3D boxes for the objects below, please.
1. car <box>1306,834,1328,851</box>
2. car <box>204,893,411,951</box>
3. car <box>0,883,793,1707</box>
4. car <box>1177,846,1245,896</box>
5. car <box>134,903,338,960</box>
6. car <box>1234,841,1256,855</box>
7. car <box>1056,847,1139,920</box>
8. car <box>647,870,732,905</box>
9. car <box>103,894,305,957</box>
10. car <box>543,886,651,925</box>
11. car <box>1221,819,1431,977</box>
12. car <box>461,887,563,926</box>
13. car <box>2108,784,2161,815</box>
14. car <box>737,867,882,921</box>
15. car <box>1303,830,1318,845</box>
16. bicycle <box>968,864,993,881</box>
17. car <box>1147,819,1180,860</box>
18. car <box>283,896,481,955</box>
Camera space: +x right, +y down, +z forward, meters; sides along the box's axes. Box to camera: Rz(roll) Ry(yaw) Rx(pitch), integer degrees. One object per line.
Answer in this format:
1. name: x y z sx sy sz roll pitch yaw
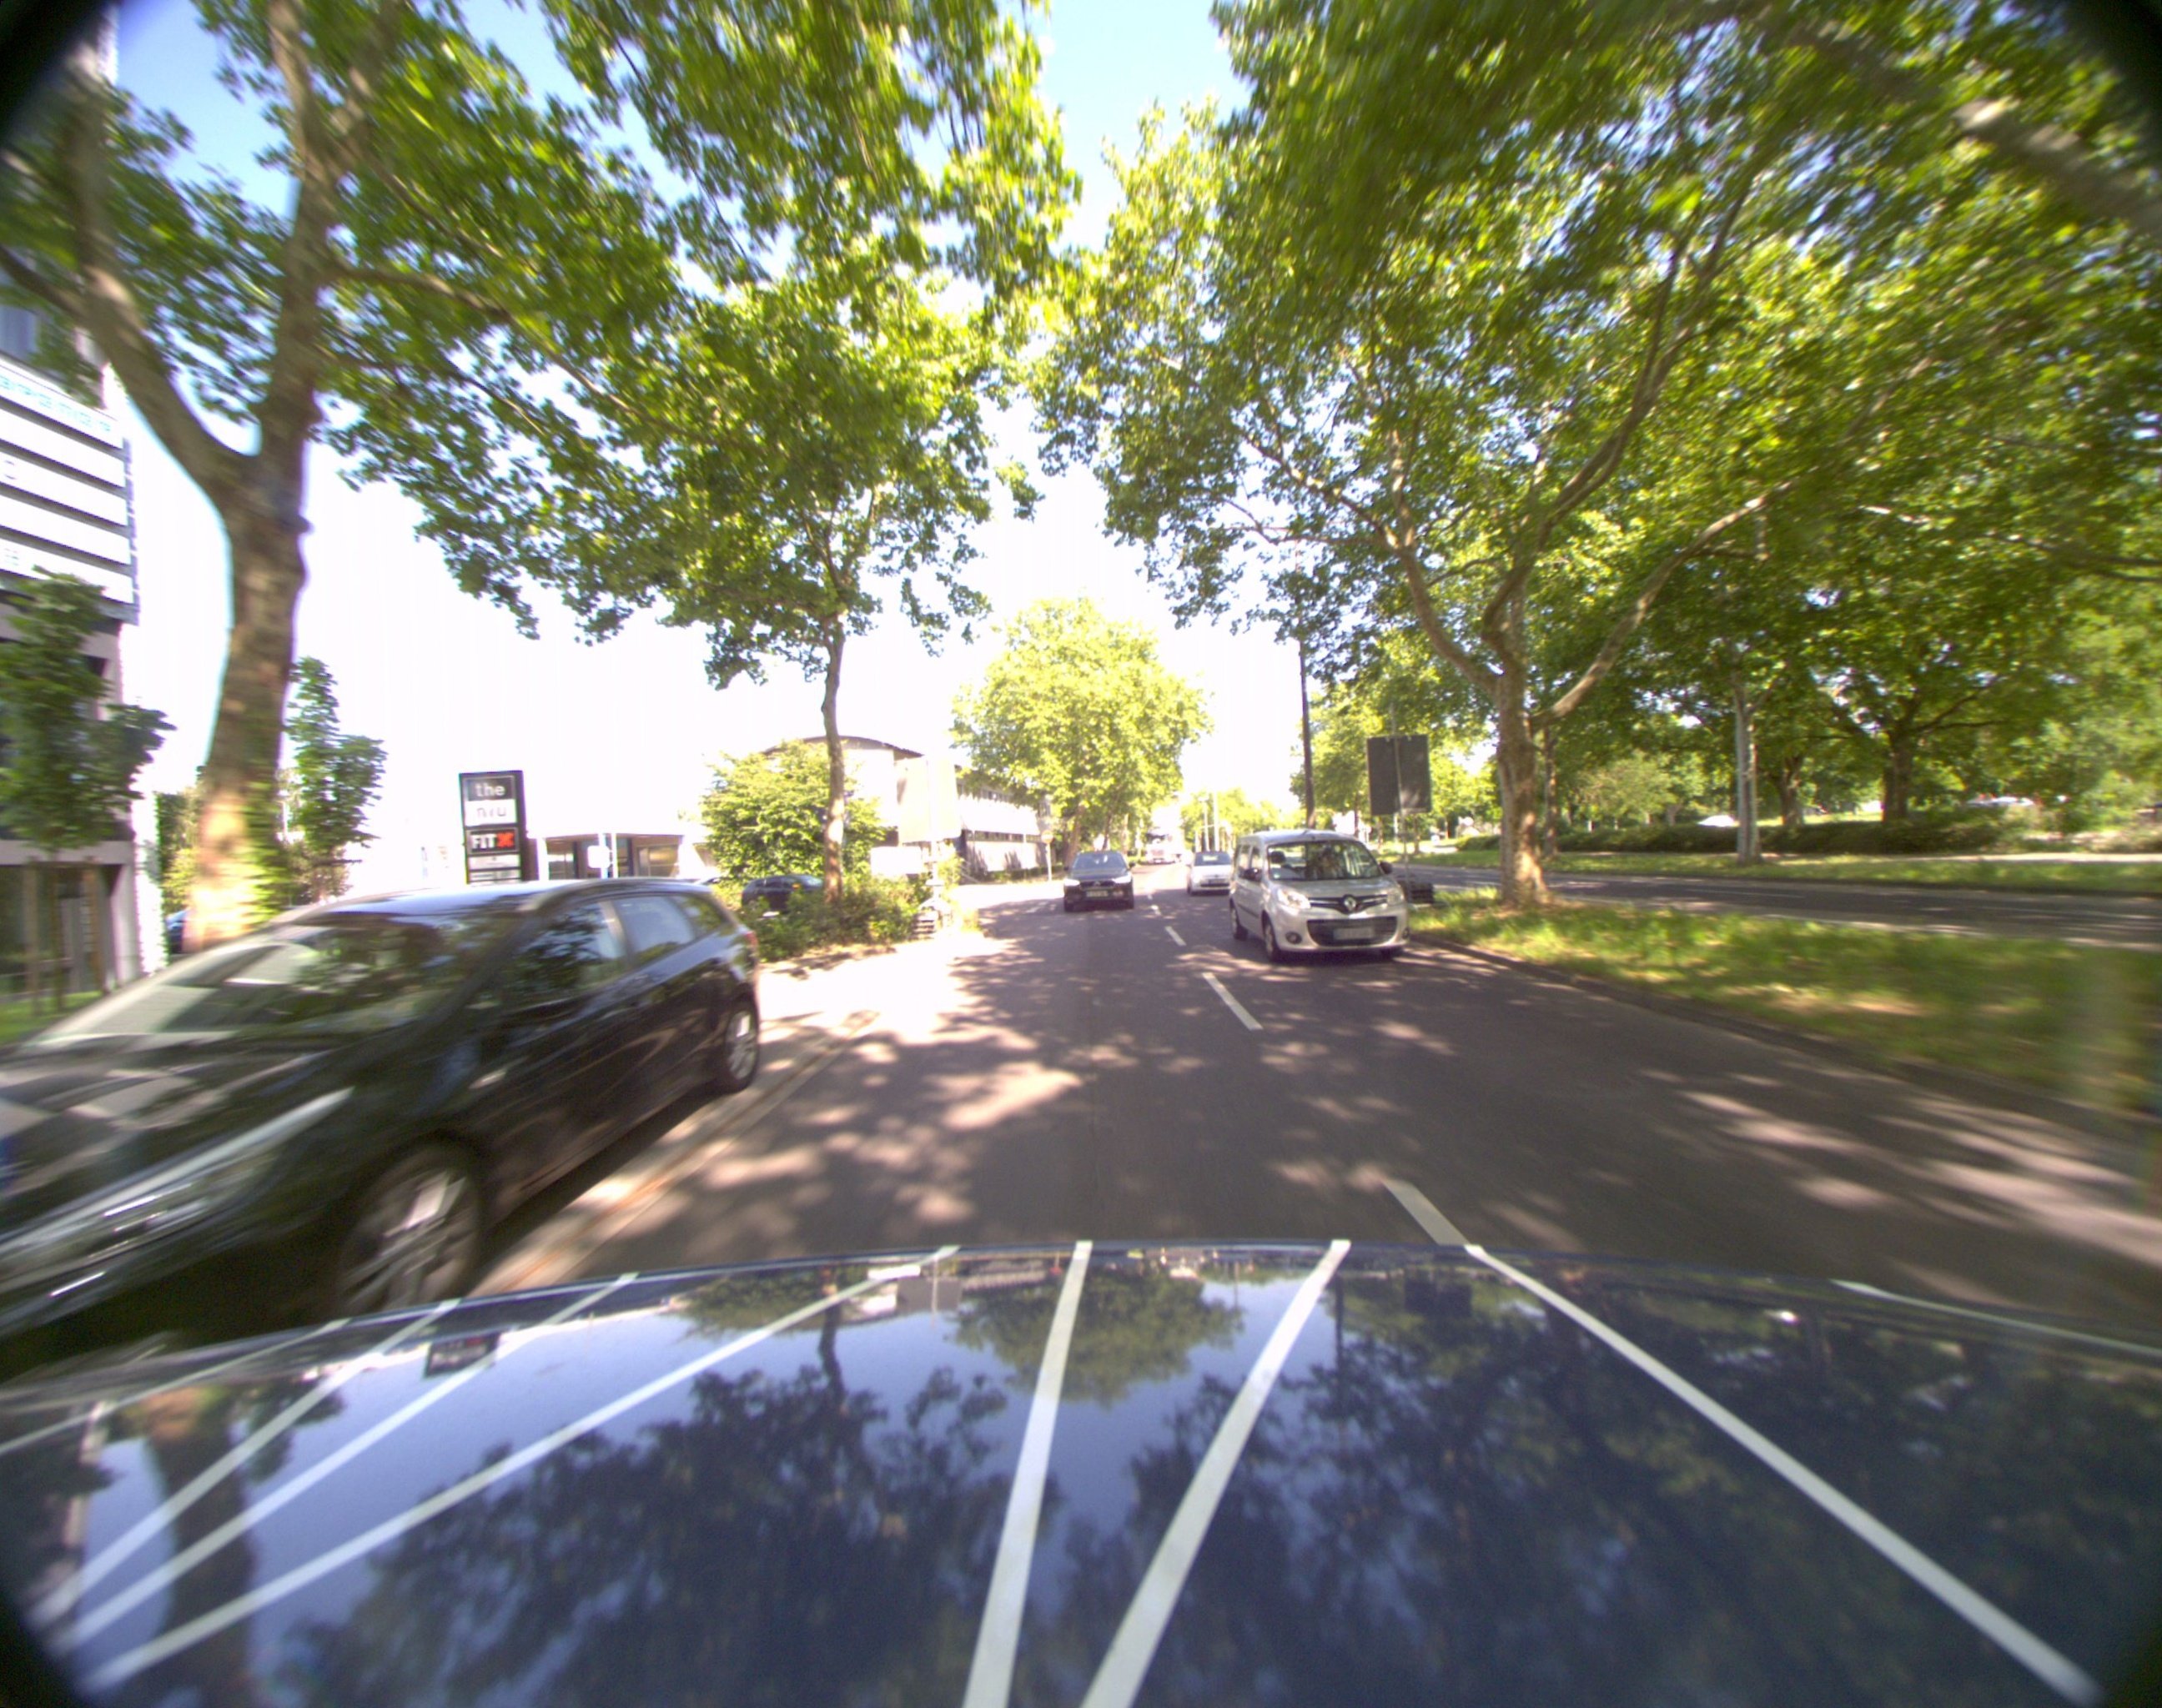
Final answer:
1. car: 22.432 -1.093 72.204 1.797 1.547 4.400 -2 1 15
2. car: -26.274 2.265 26.037 1.996 1.542 4.487 -4 -1 20
3. car: -3.070 0.996 3.633 1.711 1.479 4.718 -2 0 -2
4. car: 4.446 0.525 26.571 1.689 1.482 4.375 -3 0 2
5. car: -30.560 2.754 27.701 1.996 1.543 4.487 -4 -1 20
6. car: 19.714 -0.760 91.043 1.695 1.499 4.135 -3 0 24
7. car: 0.448 0.694 20.808 1.904 1.606 4.872 -4 1 1
8. car: -21.570 1.819 41.951 1.677 1.652 3.755 -3 1 43
9. car: -32.836 2.633 28.662 1.996 1.841 4.487 -4 -1 20
10. car: -21.967 2.343 34.497 4.048 1.390 1.873 -4 1 18
11. car: 3.355 0.507 11.338 1.876 1.829 4.376 -3 1 3
12. car: -27.433 2.532 36.664 3.992 1.542 2.003 -4 -1 20
13. car: 74.705 -3.851 53.607 1.813 2.002 4.007 -3 1 42
14. car: -9.306 1.372 26.142 4.254 1.508 2.002 -4 0 16
15. car: 40.838 -2.942 135.331 2.062 2.598 7.226 -2 1 20
16. bicycle: -7.019 1.265 52.996 1.672 1.124 0.509 -2 1 20
17. car: 8.679 -1.489 79.542 2.901 3.898 7.145 -3 0 9
18. car: -23.607 2.358 25.900 1.996 1.542 4.487 -4 -1 20
